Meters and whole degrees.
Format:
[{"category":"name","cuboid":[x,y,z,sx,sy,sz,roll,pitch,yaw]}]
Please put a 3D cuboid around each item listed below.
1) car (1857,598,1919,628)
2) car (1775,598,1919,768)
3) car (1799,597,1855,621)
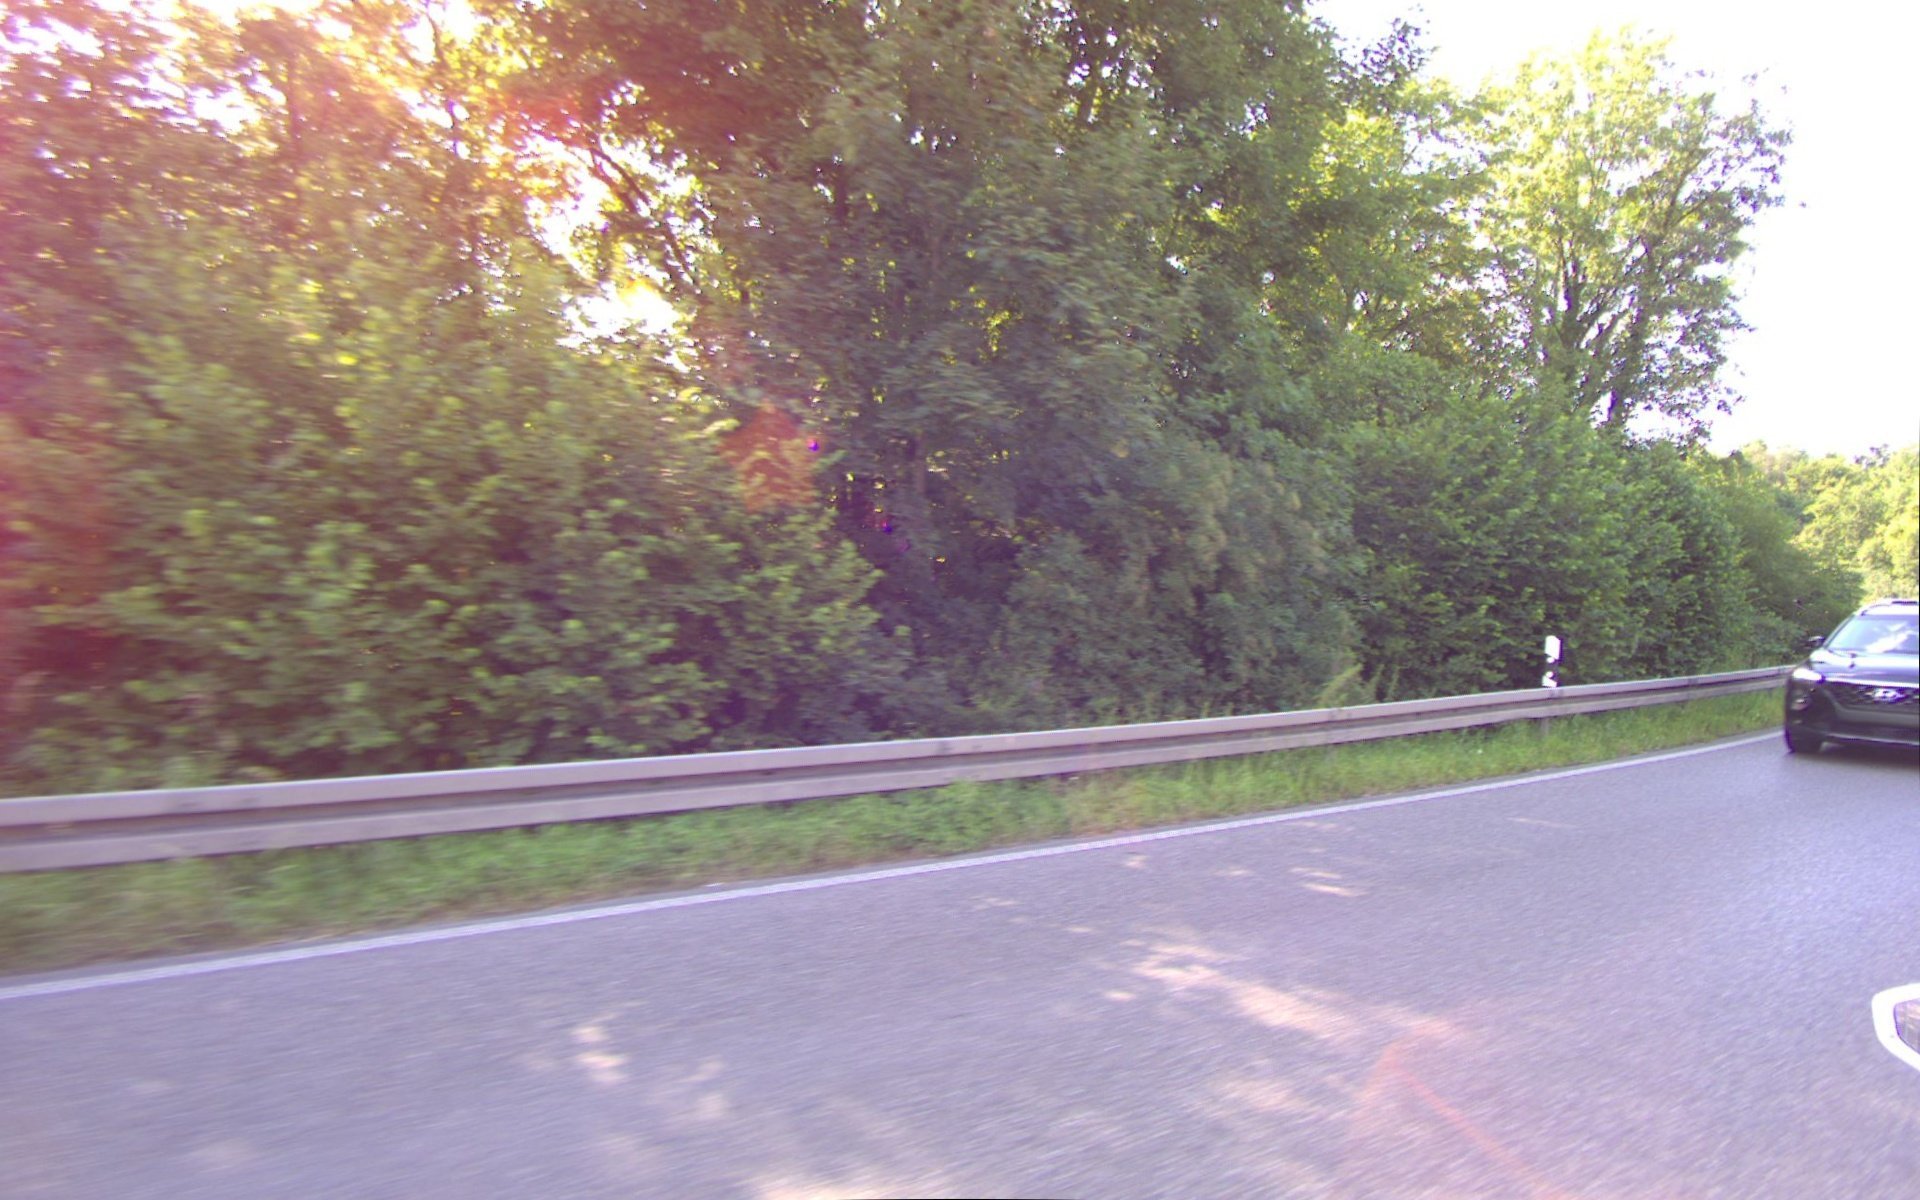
[{"category":"car","cuboid":[57.685,0.761,62.223,1.838,1.650,3.997,4,2,23]},{"category":"car","cuboid":[11.166,0.845,11.553,4.509,1.675,1.853,1,0,-39]},{"category":"car","cuboid":[61.464,0.624,71.251,1.838,1.586,3.997,1,1,23]}]
